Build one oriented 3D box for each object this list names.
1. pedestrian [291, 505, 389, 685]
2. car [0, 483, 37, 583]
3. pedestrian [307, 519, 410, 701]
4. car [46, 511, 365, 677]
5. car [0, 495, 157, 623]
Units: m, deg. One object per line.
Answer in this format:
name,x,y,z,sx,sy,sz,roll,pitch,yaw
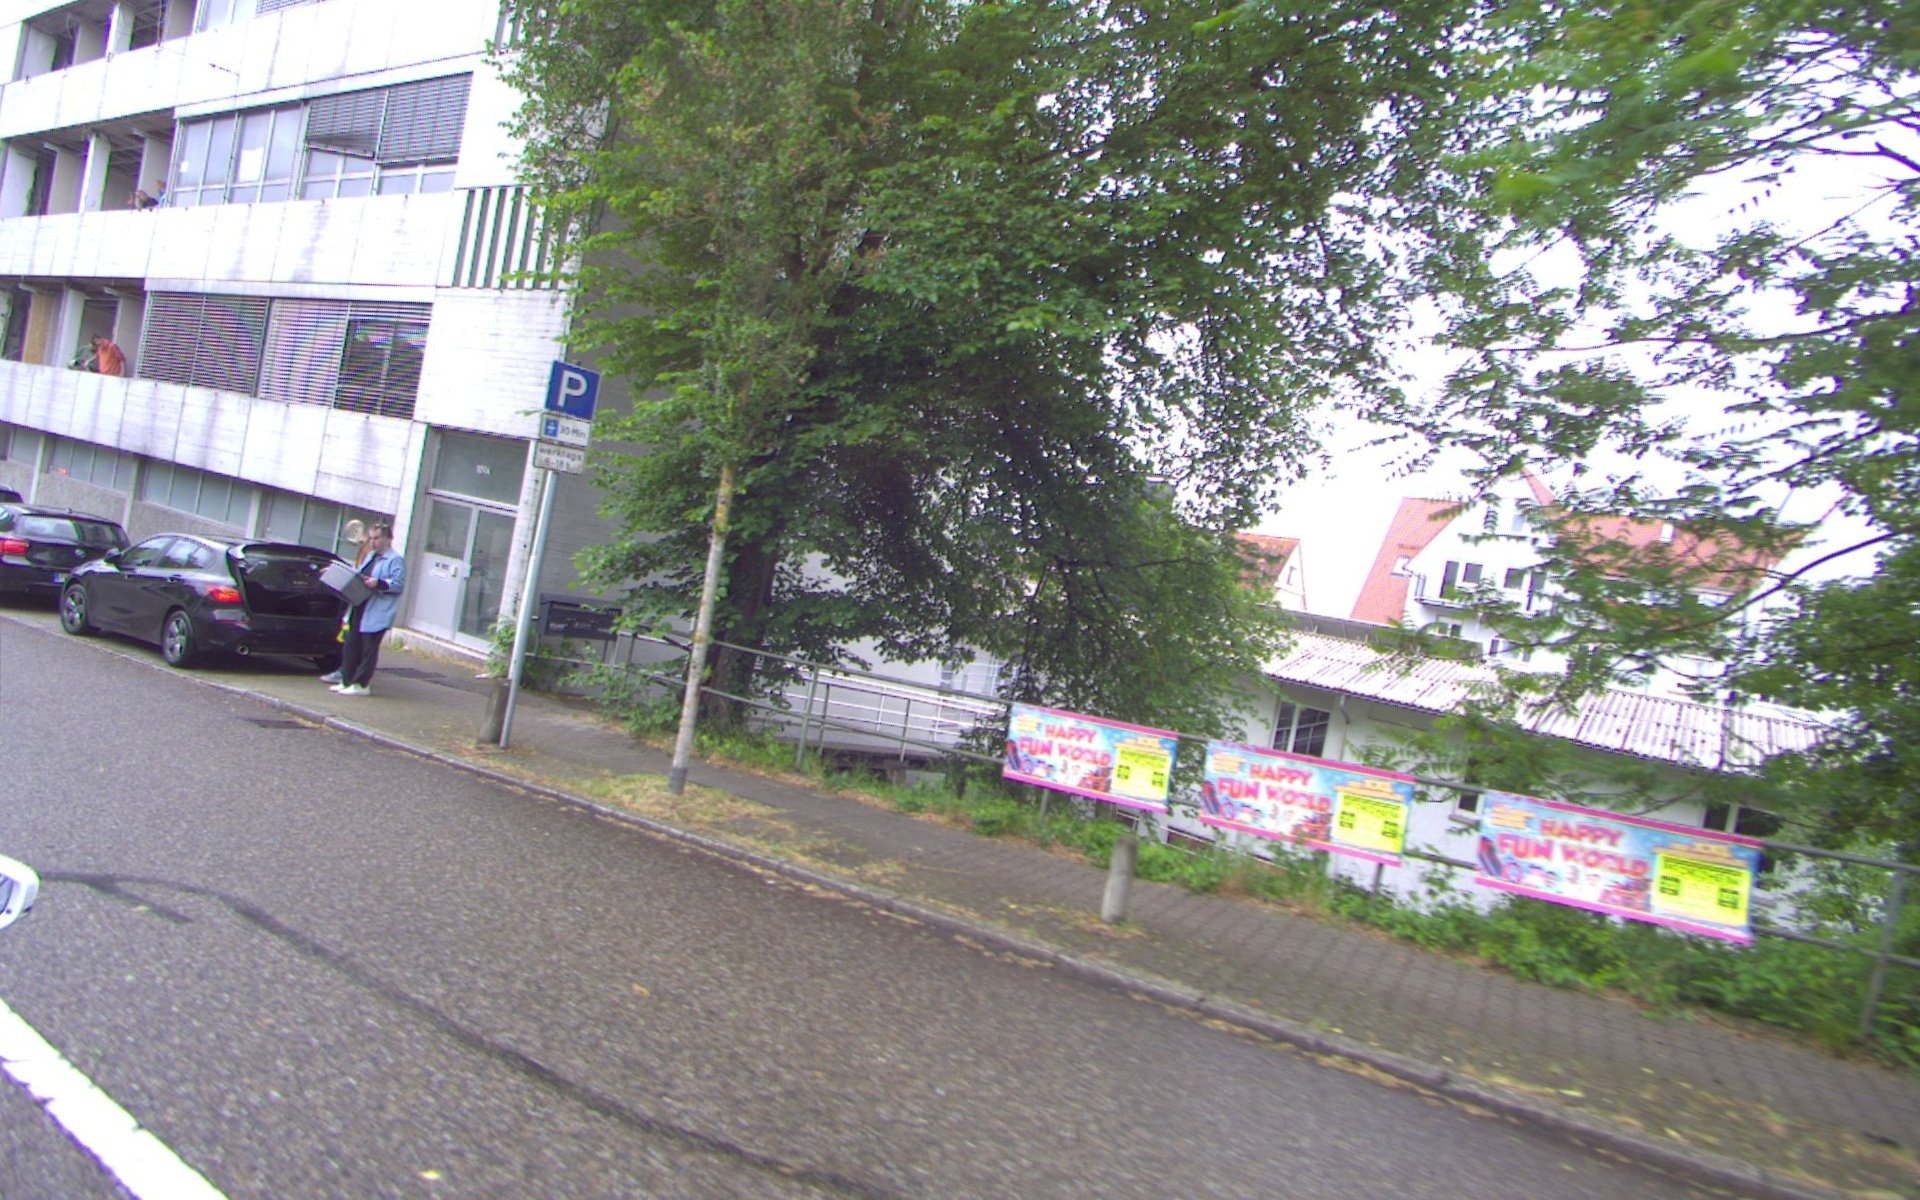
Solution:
pedestrian,-6.772,-0.061,11.028,0.657,1.860,0.684,7,2,-24
car,-17.736,-1.384,17.283,3.933,1.590,1.688,8,0,32
pedestrian,-6.200,0.096,10.356,0.730,1.746,0.758,6,2,-34
car,-9.038,-0.099,11.987,3.932,1.452,1.506,7,0,30
car,-13.814,-0.710,14.908,3.933,1.482,1.684,8,0,32
